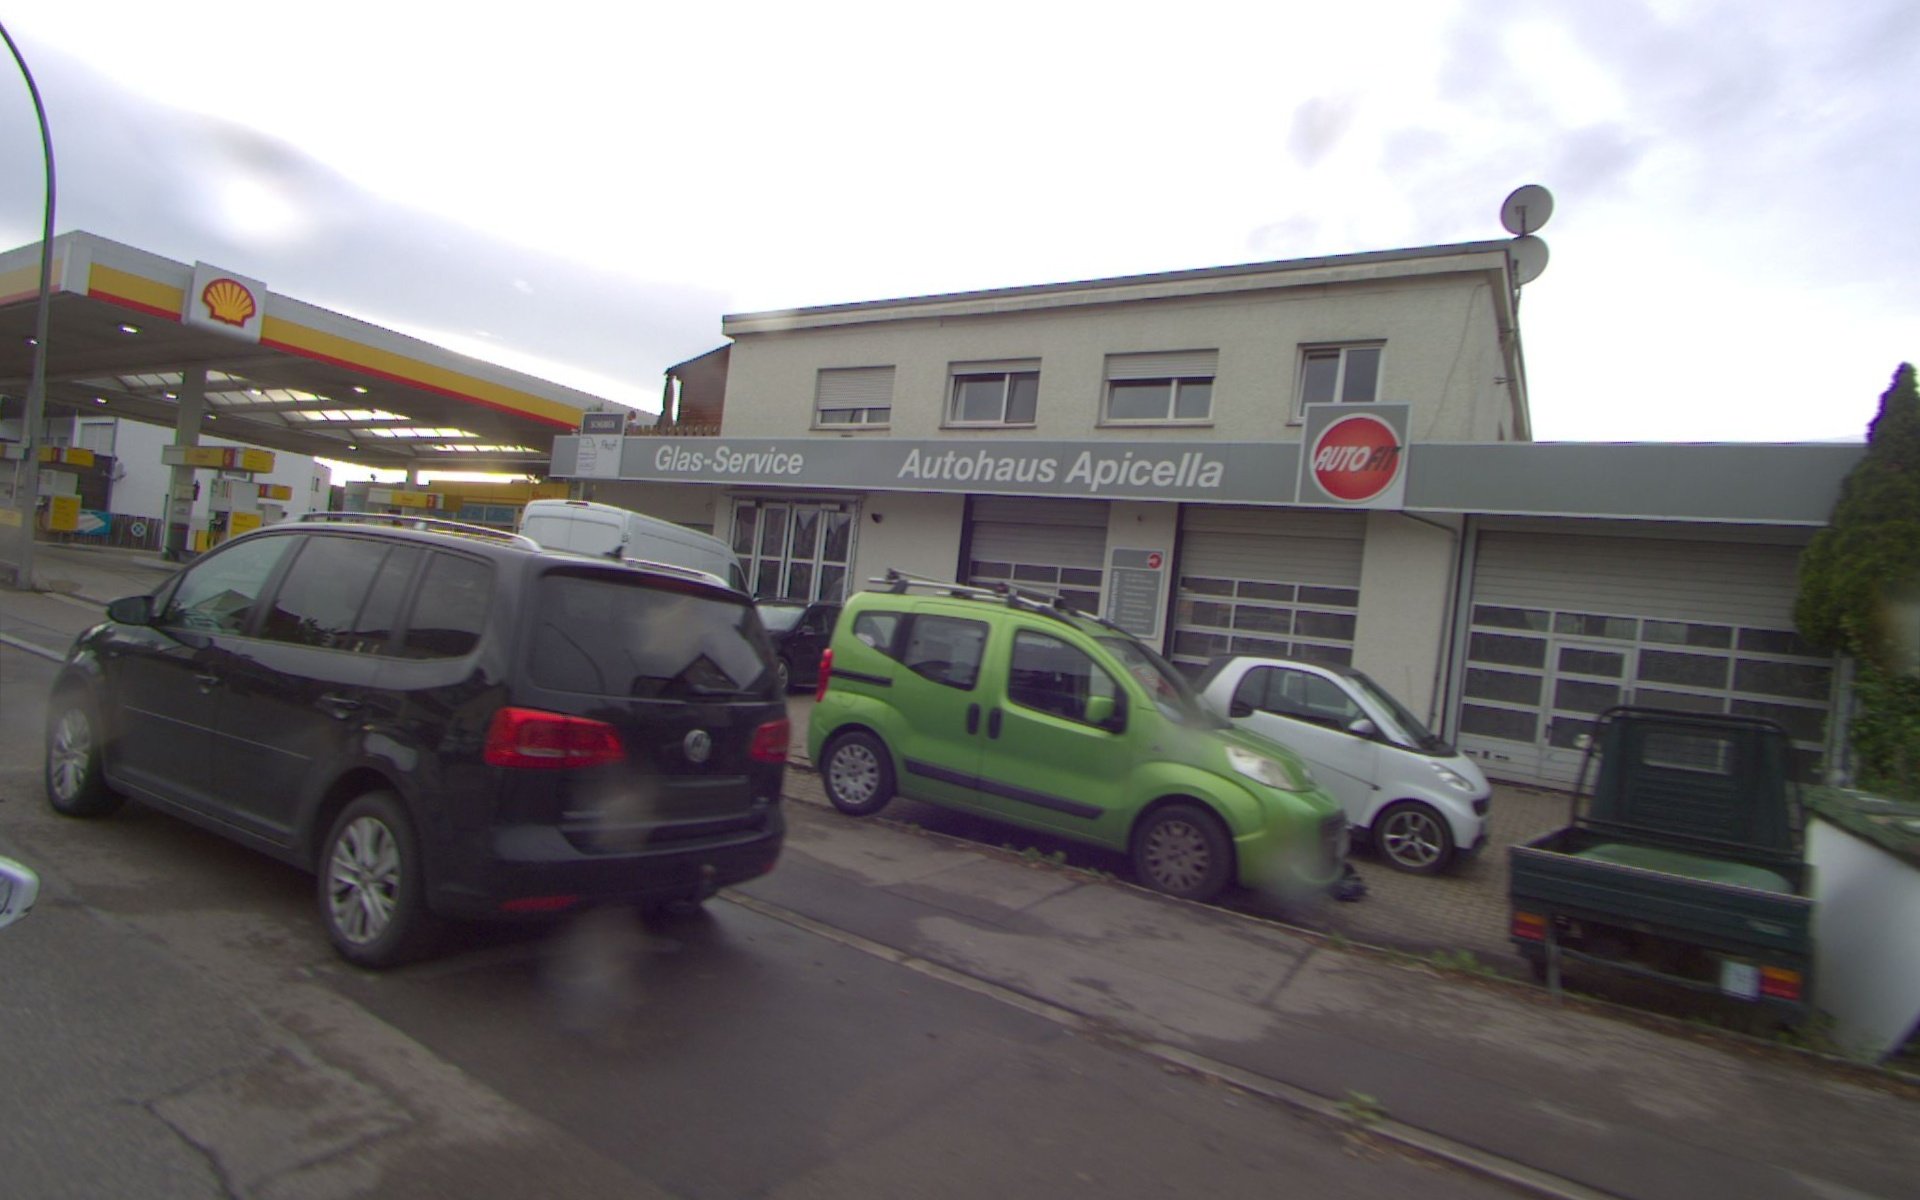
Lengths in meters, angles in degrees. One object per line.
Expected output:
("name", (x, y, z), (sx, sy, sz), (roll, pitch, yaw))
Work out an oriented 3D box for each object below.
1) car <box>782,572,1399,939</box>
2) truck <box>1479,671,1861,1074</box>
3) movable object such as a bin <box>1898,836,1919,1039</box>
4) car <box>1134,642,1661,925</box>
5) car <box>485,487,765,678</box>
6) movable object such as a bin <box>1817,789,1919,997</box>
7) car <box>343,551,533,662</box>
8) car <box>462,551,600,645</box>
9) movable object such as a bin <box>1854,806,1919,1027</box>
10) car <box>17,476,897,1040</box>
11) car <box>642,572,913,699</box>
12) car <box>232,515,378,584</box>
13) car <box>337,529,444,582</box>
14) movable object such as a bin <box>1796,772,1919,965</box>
("car", (0.952, 0.929, 7.450), (3.930, 1.703, 1.998), (7, -1, 28))
("truck", (4.018, 1.317, 5.658), (1.307, 1.548, 2.554), (7, -2, 40))
("movable object such as a bin", (5.119, 1.663, 4.850), (0.670, 1.088, 0.575), (7, 0, 31))
("car", (3.620, 1.382, 8.702), (3.667, 1.538, 1.750), (7, 0, 28))
("car", (-5.403, -0.160, 17.126), (2.204, 2.550, 4.809), (7, -1, 11))
("movable object such as a bin", (5.745, 1.768, 6.068), (0.670, 1.088, 0.670), (7, 0, 31))
("car", (-8.386, 0.081, 16.554), (1.752, 1.391, 3.989), (8, -1, -14))
("car", (-9.367, -0.033, 22.358), (1.969, 1.660, 4.351), (7, -2, -14))
("movable object such as a bin", (5.411, 1.747, 5.439), (0.670, 1.088, 0.575), (7, 0, 31))
("car", (-2.573, 0.452, 5.021), (3.932, 1.615, 1.997), (7, 0, 30))
("car", (-2.743, 0.657, 16.190), (1.864, 1.592, 4.311), (7, -1, 28))
("car", (-19.354, -1.497, 29.679), (4.596, 1.483, 1.742), (7, -1, 32))
("car", (-20.901, -1.638, 36.900), (3.717, 1.483, 1.743), (7, -1, 32))
("movable object such as a bin", (6.147, 1.772, 6.716), (0.670, 1.088, 0.670), (7, 0, 31))
